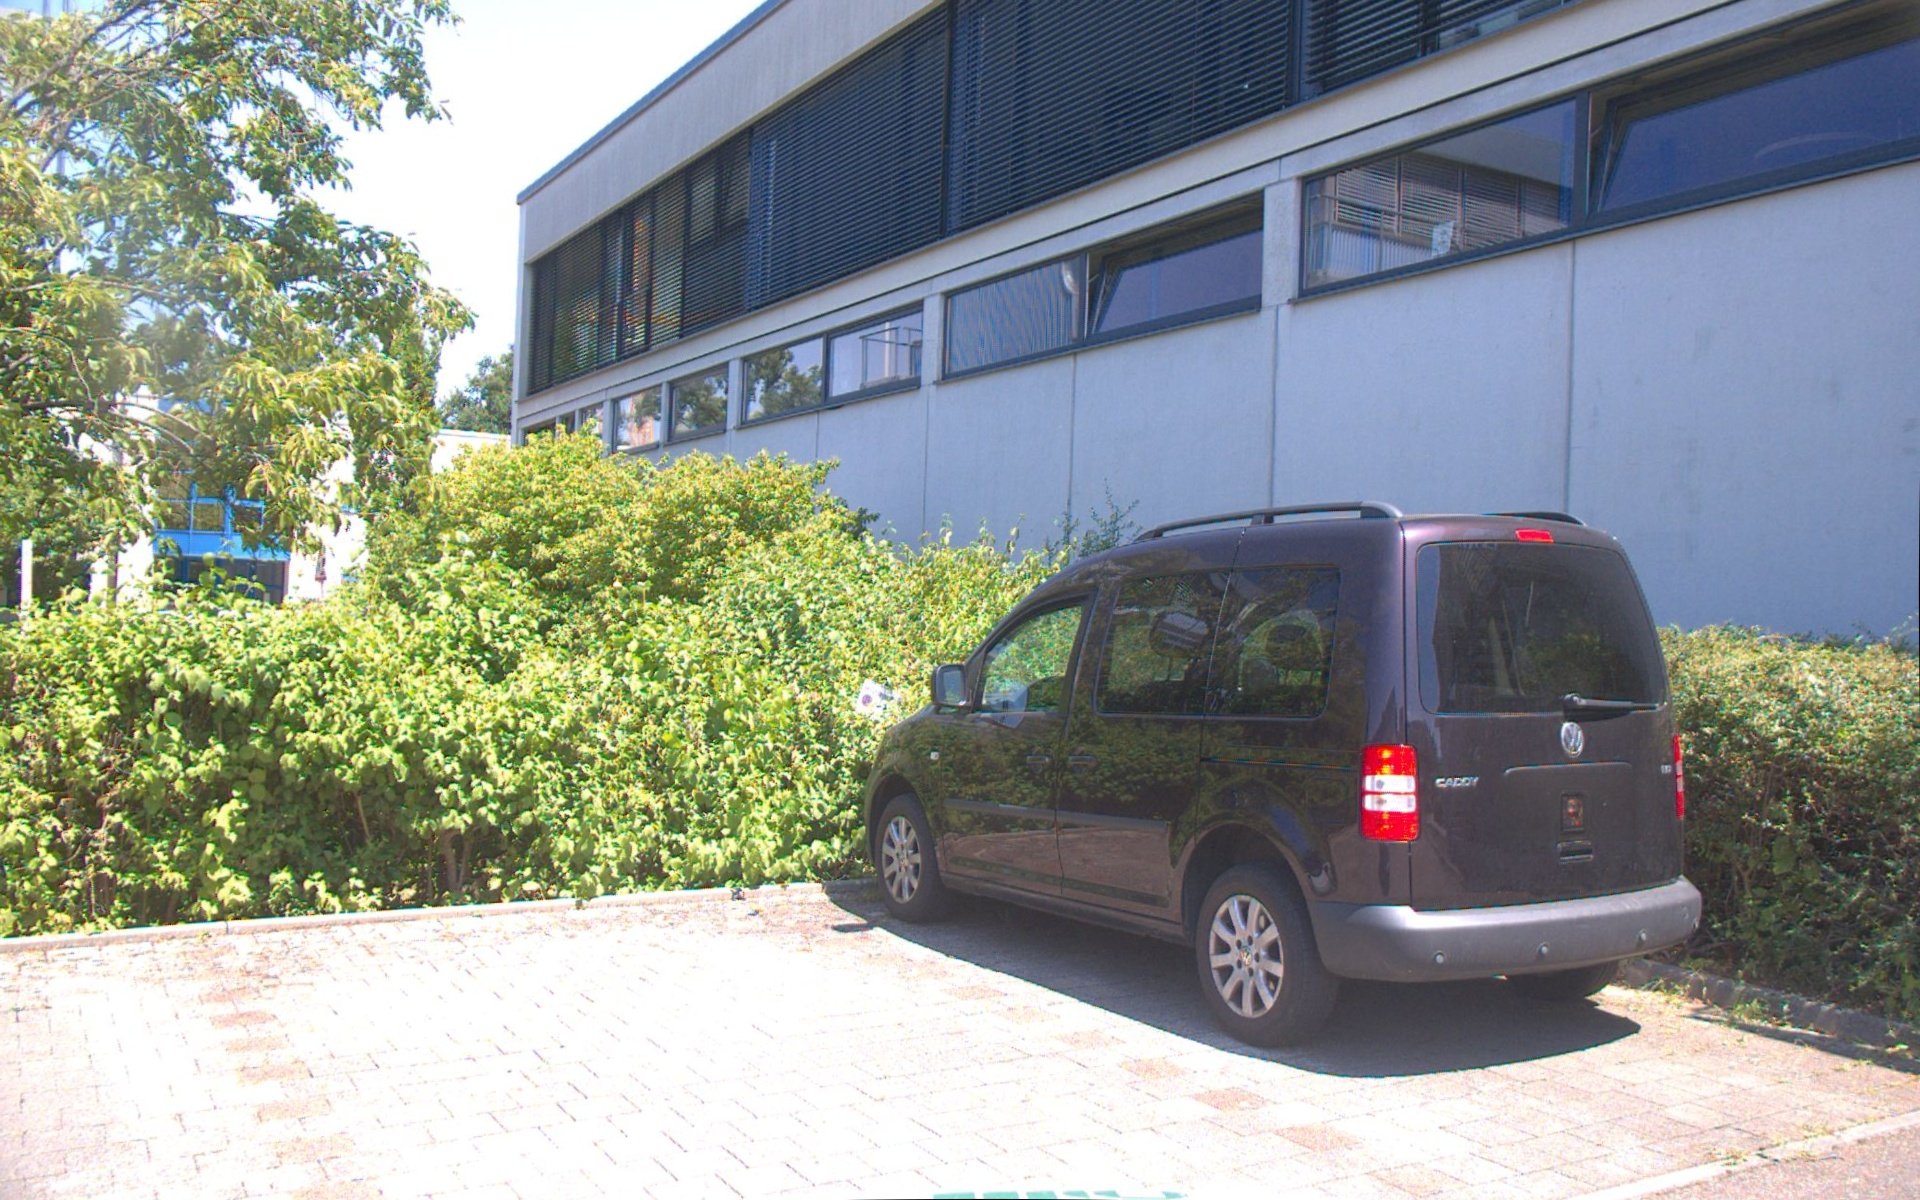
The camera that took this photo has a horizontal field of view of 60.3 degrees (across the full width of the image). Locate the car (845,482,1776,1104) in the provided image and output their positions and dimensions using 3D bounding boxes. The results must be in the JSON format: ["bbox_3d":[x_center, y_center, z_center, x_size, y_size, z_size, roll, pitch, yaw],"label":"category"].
[{"bbox_3d":[1.166,0.596,7.137,1.725,1.869,3.958,1,-1,-31],"label":"car"}]
